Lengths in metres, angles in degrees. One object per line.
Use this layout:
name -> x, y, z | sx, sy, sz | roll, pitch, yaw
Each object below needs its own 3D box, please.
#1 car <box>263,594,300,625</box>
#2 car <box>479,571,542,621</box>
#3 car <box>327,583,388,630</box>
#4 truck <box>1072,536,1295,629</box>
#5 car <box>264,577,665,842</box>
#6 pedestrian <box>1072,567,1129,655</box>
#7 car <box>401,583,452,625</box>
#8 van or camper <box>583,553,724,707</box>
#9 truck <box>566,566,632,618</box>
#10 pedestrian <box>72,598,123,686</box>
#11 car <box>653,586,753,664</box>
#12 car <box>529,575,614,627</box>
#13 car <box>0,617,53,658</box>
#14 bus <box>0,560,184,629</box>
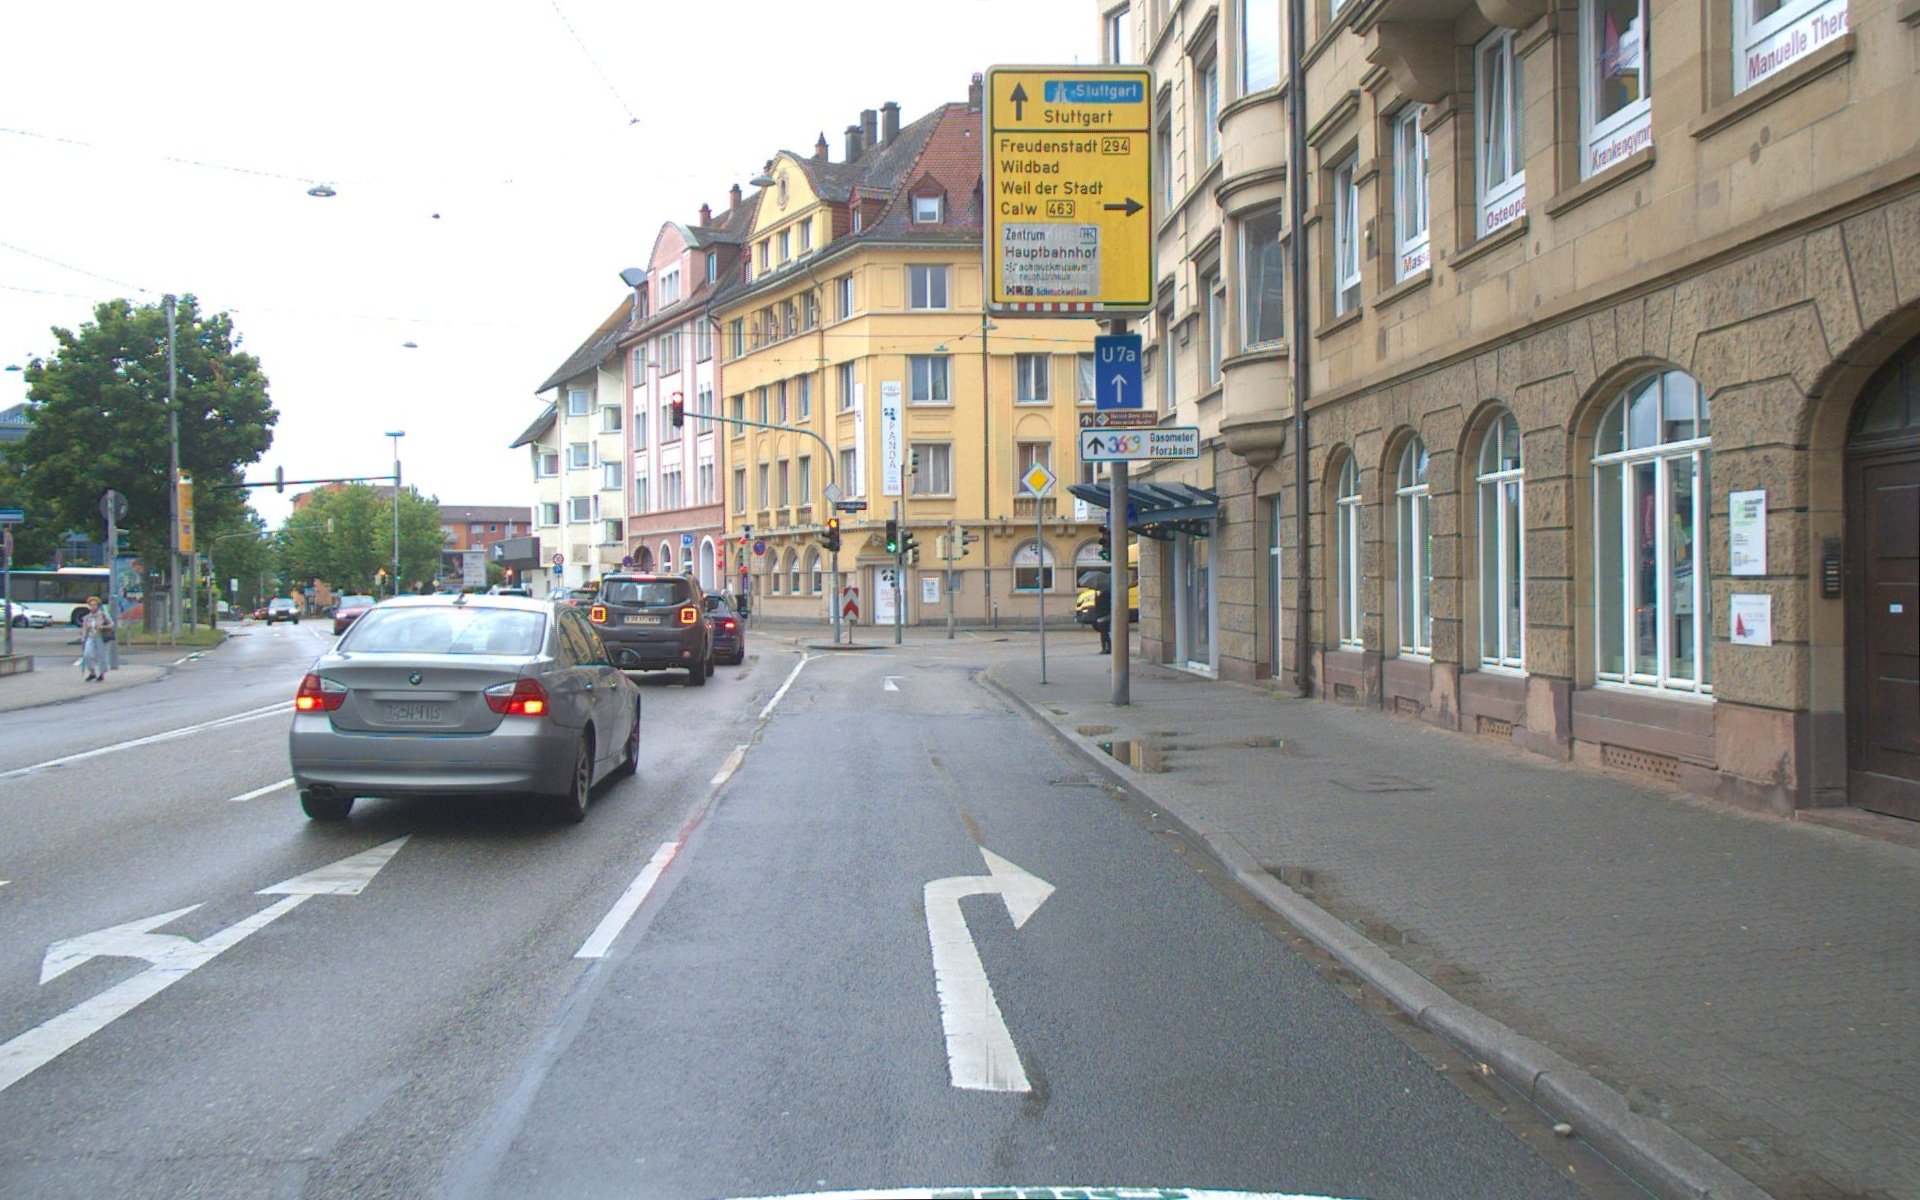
car -> -42.814, 0.562, 104.320 | 1.864, 1.847, 3.967 | -1, 1, -26
car -> -19.226, -0.195, 70.687 | 1.968, 2.049, 3.969 | -1, 1, -25
car -> -23.185, 0.239, 63.590 | 1.821, 1.713, 3.969 | 2, 0, -25
truck -> 7.266, -0.574, 54.120 | 6.951, 2.901, 2.081 | -1, 0, -4
car -> -3.197, 0.627, 11.587 | 1.764, 1.490, 4.367 | 0, 0, -4
pedestrian -> 3.148, 0.238, 36.939 | 1.035, 1.937, 1.025 | 0, 1, 19
car -> -26.953, 0.184, 83.444 | 1.968, 2.049, 3.969 | -1, 1, -25
van or camper -> -4.744, 0.428, 26.084 | 1.819, 2.184, 4.136 | 2, 0, -7
truck -> -17.315, -0.408, 79.244 | 2.004, 2.431, 4.197 | 0, 1, -29
pedestrian -> -15.499, 0.755, 29.739 | 0.750, 1.556, 0.504 | 1, -1, -25
car -> -5.024, 0.453, 32.825 | 1.768, 1.430, 4.677 | 0, 0, -7
car -> -14.554, 0.028, 61.875 | 1.974, 1.847, 3.958 | -1, 0, -31
car -> -45.789, 1.808, 79.102 | 3.926, 1.914, 1.815 | -1, 0, -19
bus -> -45.476, -0.302, 85.803 | 8.932, 3.159, 2.917 | 2, 1, -4
